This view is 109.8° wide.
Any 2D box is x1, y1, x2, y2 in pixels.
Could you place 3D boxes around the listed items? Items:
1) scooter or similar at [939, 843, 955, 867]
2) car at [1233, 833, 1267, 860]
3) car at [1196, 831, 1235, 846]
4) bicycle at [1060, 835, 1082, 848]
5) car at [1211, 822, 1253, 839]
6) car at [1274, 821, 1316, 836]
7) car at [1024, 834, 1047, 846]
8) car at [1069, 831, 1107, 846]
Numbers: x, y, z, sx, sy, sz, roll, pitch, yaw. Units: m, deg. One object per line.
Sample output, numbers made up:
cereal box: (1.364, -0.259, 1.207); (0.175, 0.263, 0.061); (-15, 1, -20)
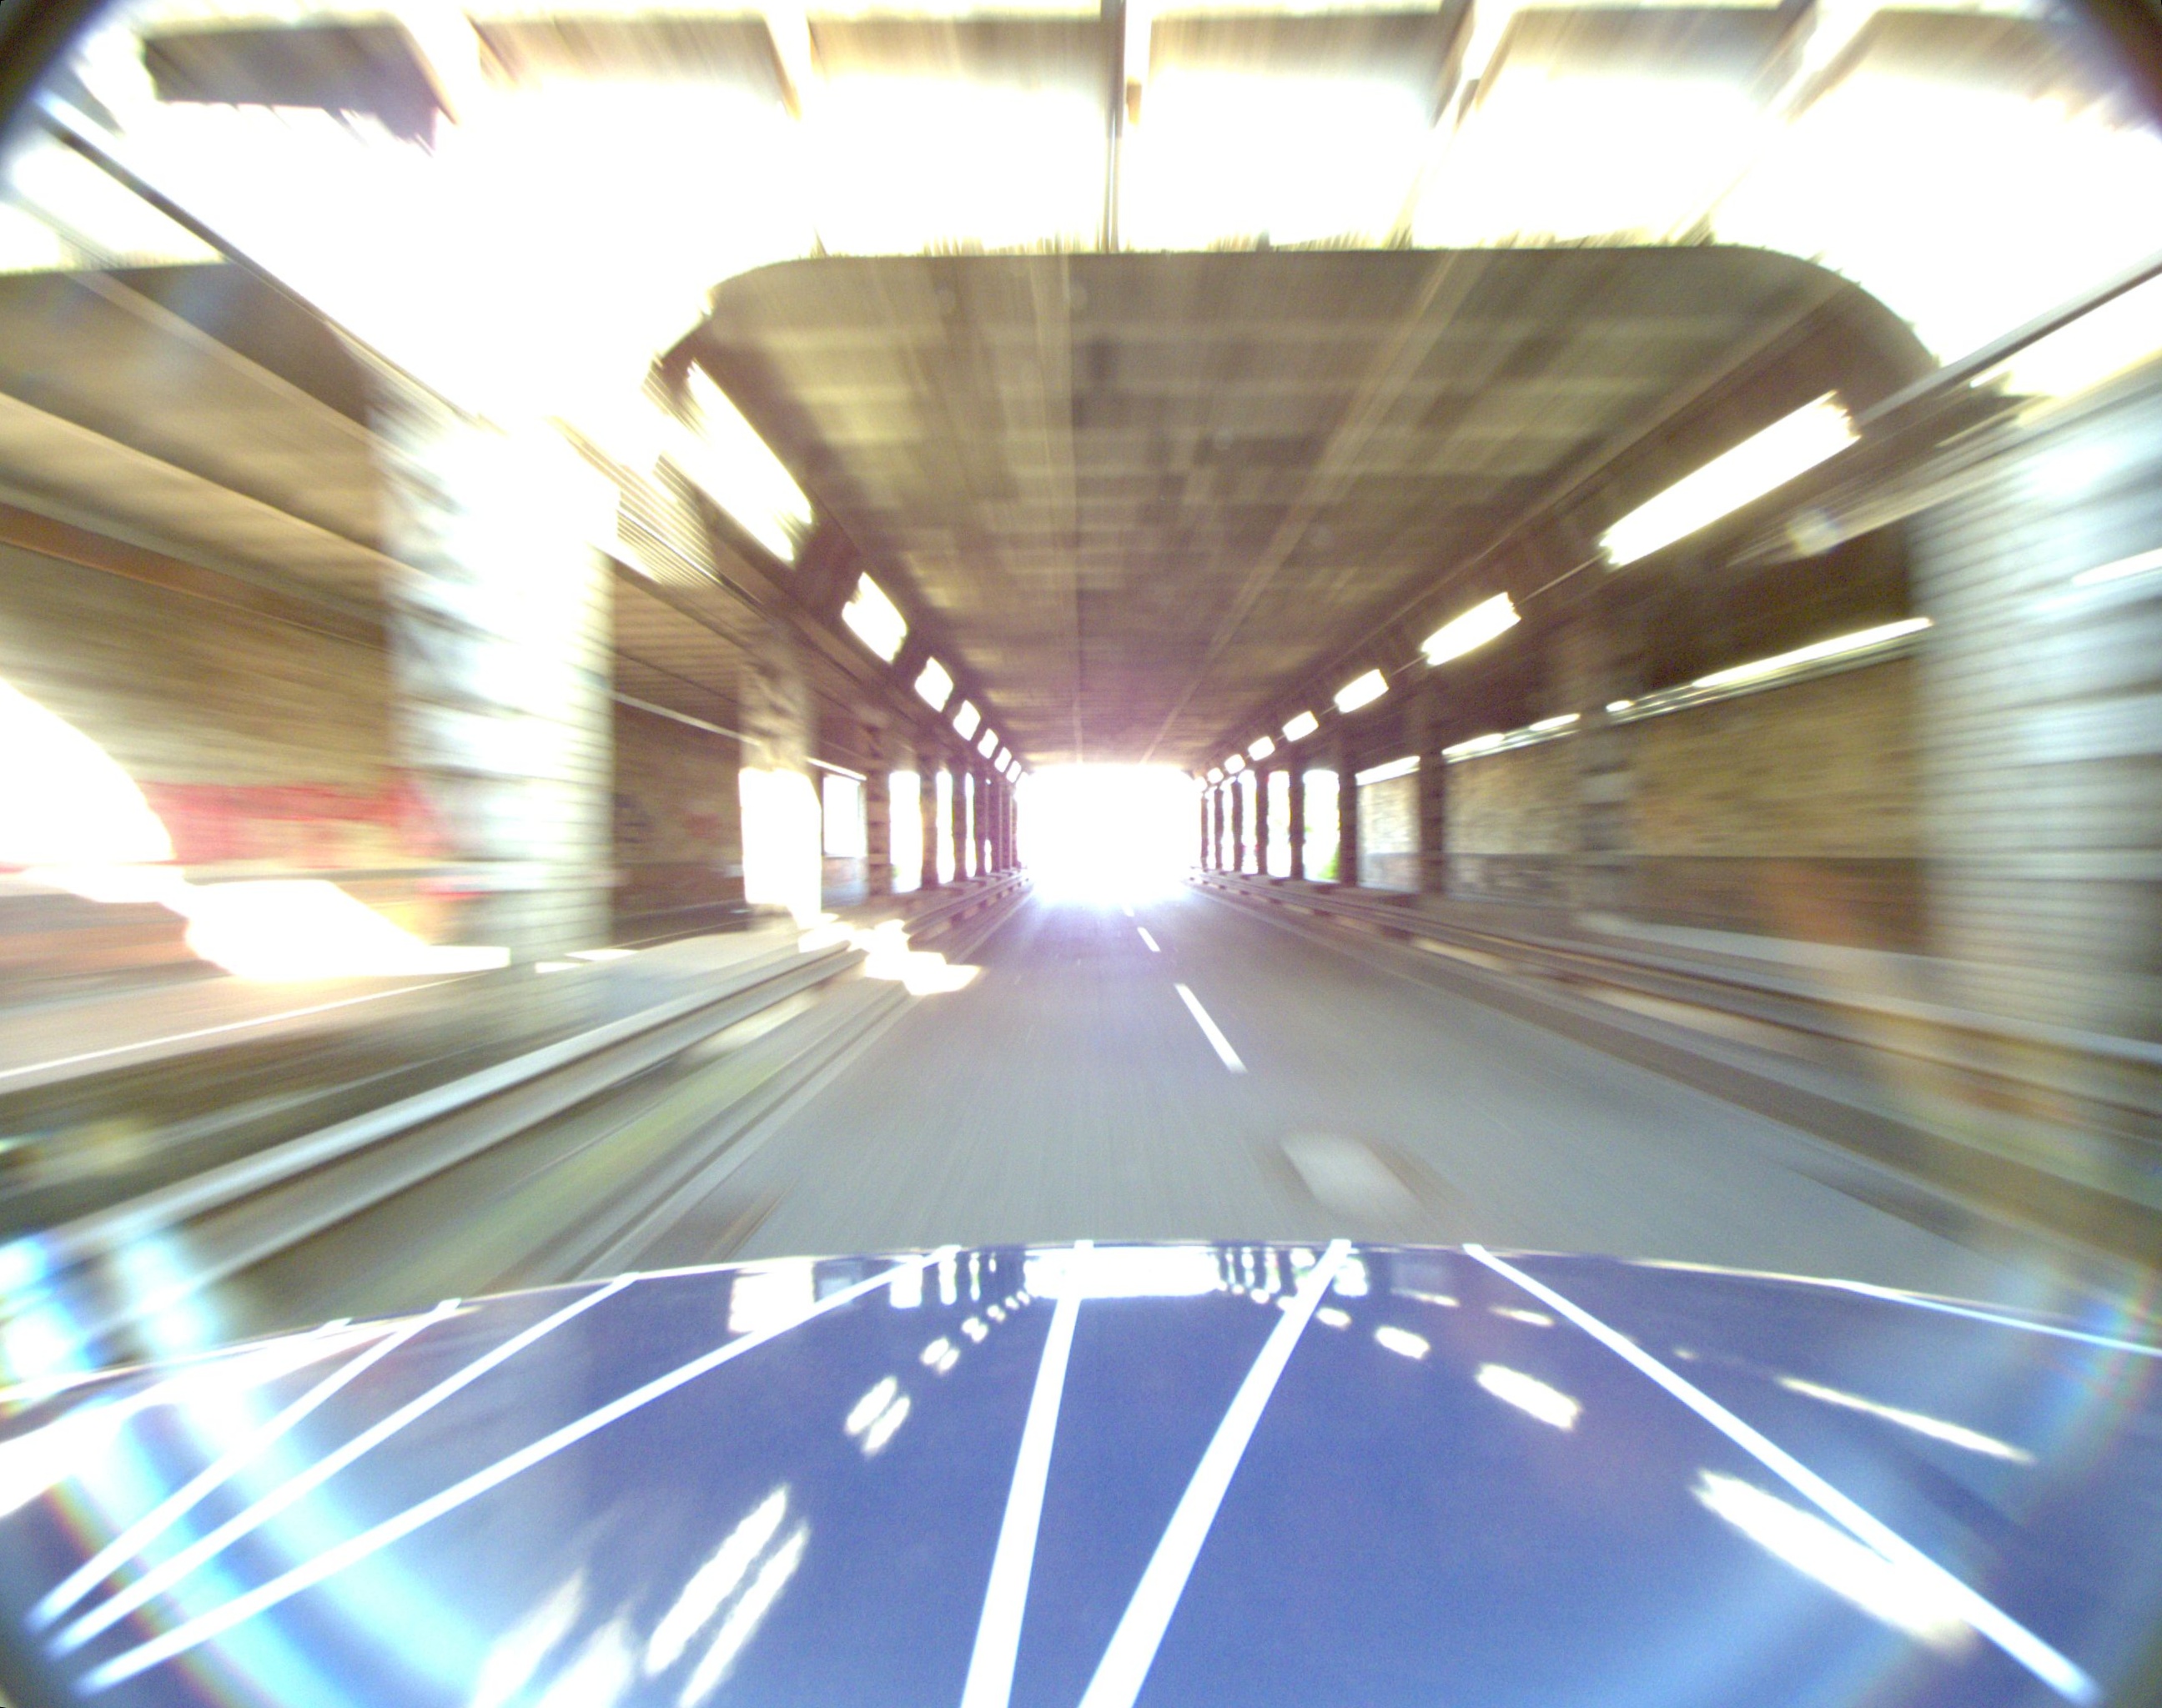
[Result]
scooter or similar: (-7.286, 0.047, 41.333); (0.538, 1.190, 1.290); (-2, 2, 1)
car: (10.731, -0.484, 48.105); (1.953, 1.509, 4.390); (-1, 2, 15)
car: (15.924, -1.856, 90.009); (4.320, 1.590, 1.860); (-2, 2, 6)
bicycle: (-1.336, -1.740, 103.240); (2.948, 1.607, 0.908); (-1, 3, 34)
car: (16.340, -2.573, 82.071); (4.126, 1.627, 1.916); (-4, 3, -29)
car: (22.704, -2.716, 80.627); (3.939, 1.419, 1.905); (-3, 2, -18)
car: (-7.137, -2.149, 118.230); (2.179, 1.720, 4.483); (-3, 2, -22)
car: (0.828, -1.877, 89.201); (4.266, 1.734, 1.857); (0, 2, -10)
